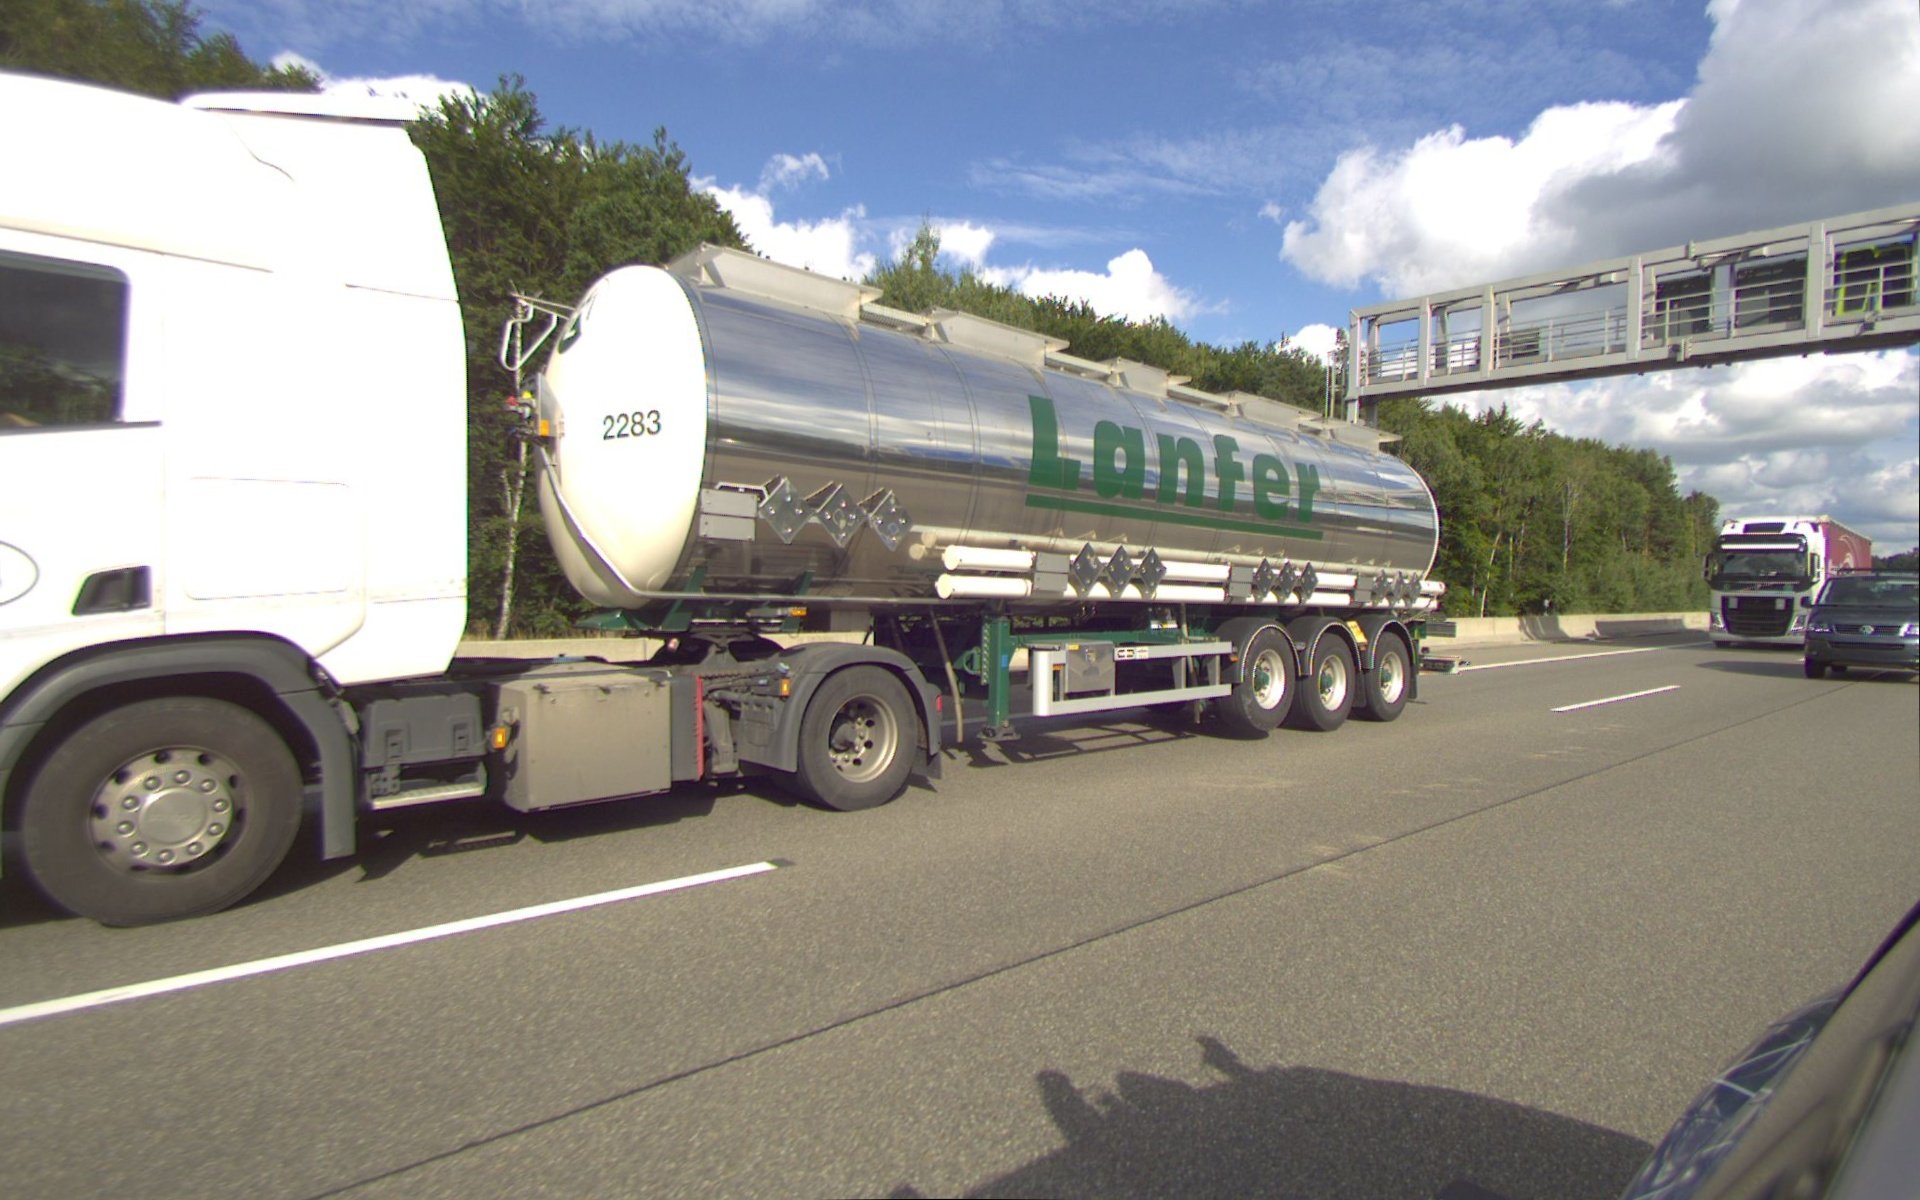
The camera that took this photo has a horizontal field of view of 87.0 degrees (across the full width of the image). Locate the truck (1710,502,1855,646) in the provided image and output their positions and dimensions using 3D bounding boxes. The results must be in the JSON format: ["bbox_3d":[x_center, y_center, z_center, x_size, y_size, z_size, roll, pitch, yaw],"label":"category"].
[{"bbox_3d":[25.901,-0.765,31.788,5.676,4.096,2.777,0,0,-43],"label":"truck"}]

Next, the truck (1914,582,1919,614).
[{"bbox_3d":[116.542,-0.206,121.292,3.009,3.730,7.446,2,1,42],"label":"truck"}]

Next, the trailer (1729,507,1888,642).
[{"bbox_3d":[30.708,-0.808,36.277,13.482,4.096,2.777,0,1,-43],"label":"trailer"}]

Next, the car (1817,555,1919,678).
[{"bbox_3d":[18.222,0.270,19.641,4.848,2.136,1.851,0,0,-43],"label":"car"}]

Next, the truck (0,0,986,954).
[{"bbox_3d":[-2.934,-0.599,6.350,5.976,3.871,2.653,0,1,-42],"label":"truck"}]

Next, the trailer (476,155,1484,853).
[{"bbox_3d":[1.625,-0.560,10.416,11.654,3.814,2.653,0,1,-42],"label":"trailer"}]
